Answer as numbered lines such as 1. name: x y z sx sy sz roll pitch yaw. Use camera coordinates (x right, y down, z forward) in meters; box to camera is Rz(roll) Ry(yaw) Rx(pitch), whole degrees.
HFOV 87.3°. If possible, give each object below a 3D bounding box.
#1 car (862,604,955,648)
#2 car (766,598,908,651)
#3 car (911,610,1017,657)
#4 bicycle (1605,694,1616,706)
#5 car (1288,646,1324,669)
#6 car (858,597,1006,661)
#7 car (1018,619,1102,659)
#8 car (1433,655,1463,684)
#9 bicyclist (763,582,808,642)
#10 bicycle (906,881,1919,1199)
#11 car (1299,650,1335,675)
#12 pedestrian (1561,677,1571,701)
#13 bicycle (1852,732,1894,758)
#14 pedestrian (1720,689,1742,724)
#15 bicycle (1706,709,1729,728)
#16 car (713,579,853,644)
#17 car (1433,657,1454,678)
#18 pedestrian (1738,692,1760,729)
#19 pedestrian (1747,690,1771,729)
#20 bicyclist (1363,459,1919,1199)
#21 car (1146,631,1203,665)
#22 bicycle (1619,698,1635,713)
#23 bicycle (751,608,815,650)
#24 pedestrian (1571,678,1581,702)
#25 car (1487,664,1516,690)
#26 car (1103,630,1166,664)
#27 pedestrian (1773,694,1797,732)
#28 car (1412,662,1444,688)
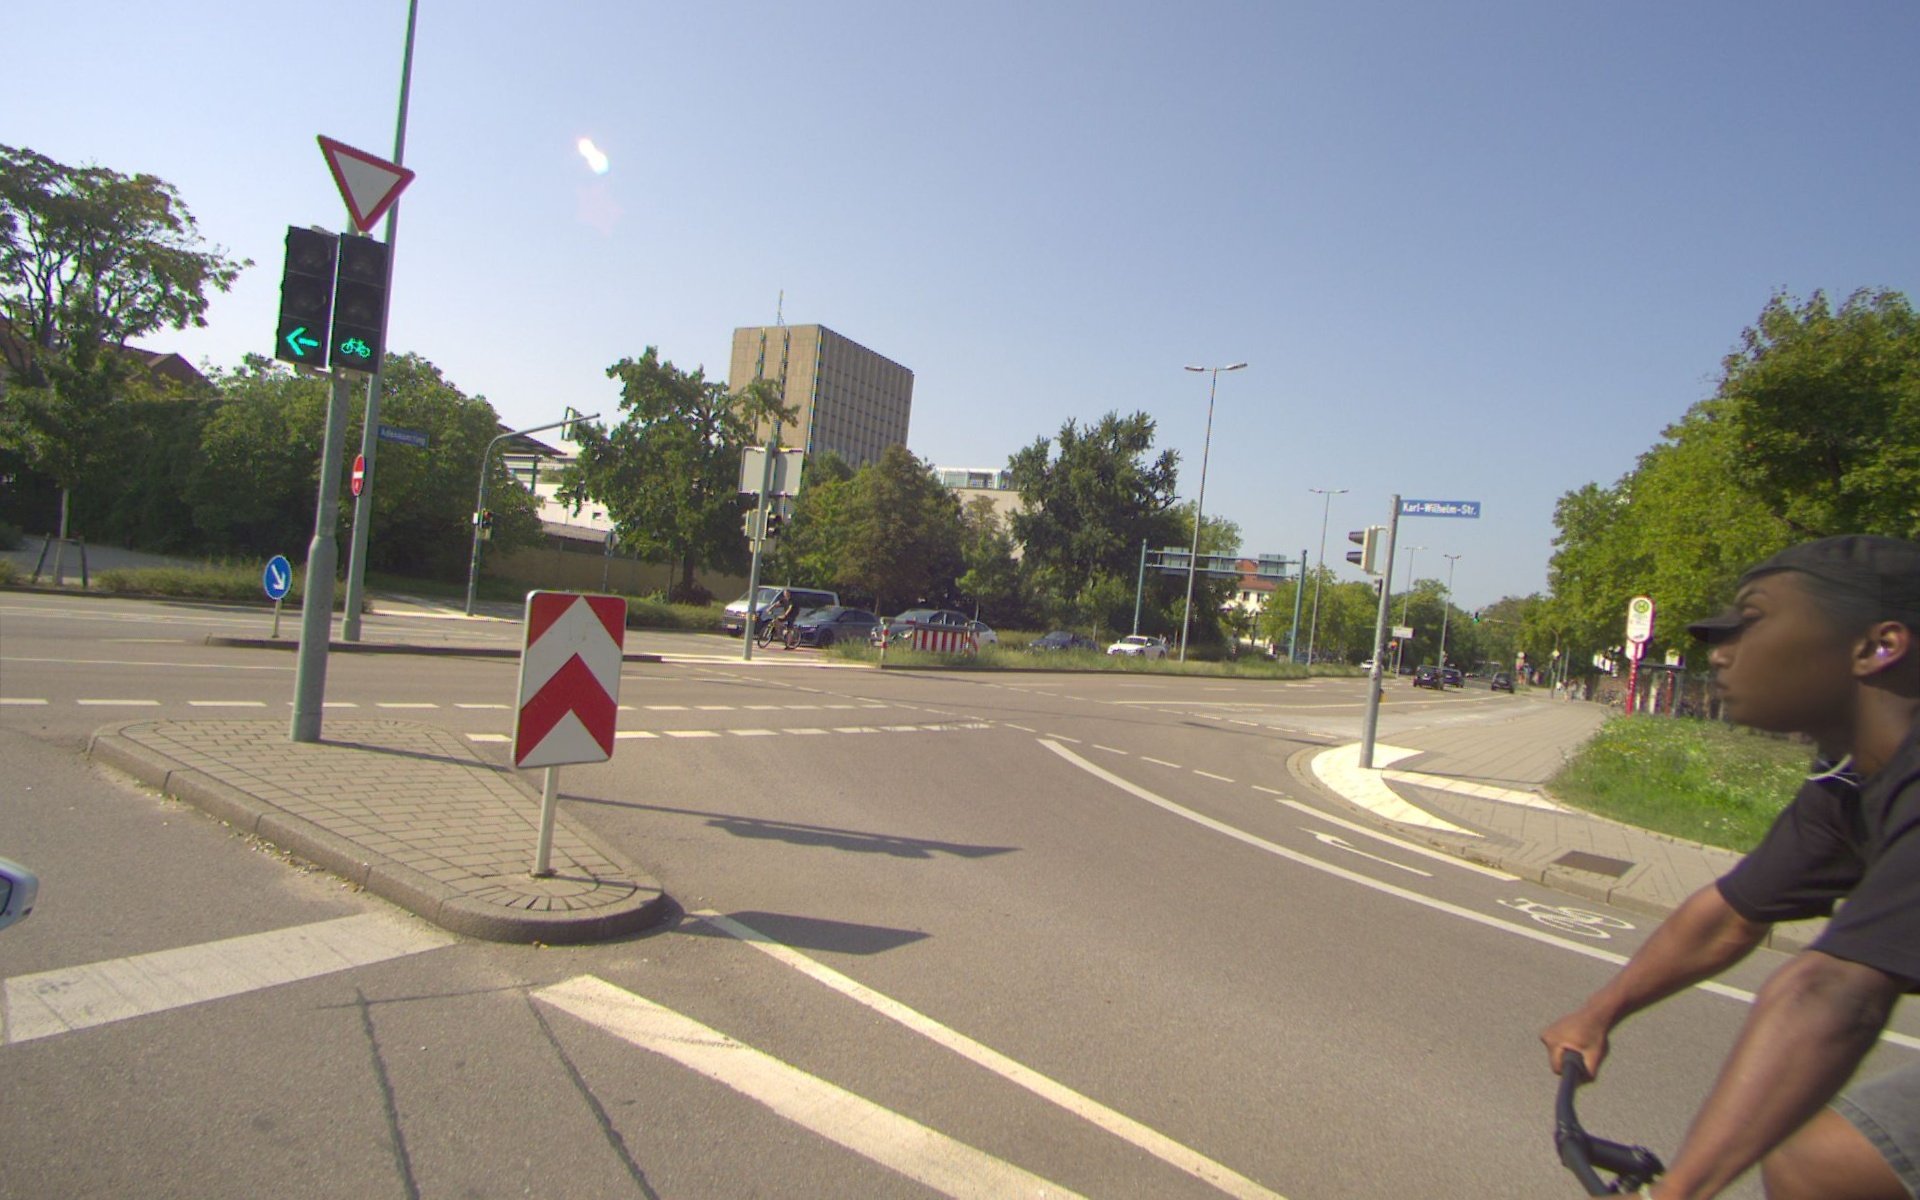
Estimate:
1. car: -2.180 1.151 43.439 1.783 1.524 3.954 6 0 37
2. car: -4.157 0.885 34.734 1.883 1.418 4.902 6 0 37
3. car: 0.212 1.410 41.303 1.970 1.524 4.419 6 0 37
4. bicycle: 48.912 7.508 75.614 0.426 0.846 1.548 7 0 25
5. car: 29.242 4.890 84.992 1.900 1.680 4.286 6 0 31
6. car: -0.761 0.926 30.731 1.827 1.597 4.695 4 -2 38
7. car: 4.794 1.871 47.781 1.970 1.524 4.280 6 0 37
8. car: 40.902 5.857 84.380 1.885 2.036 4.001 7 -2 24
9. bicyclist: -5.104 0.355 29.454 0.737 1.656 0.873 7 1 34
10. bicycle: 1.003 1.145 1.206 2.113 0.988 0.773 6 1 30
11. car: 26.237 4.584 73.888 1.683 1.593 3.993 6 0 29
12. pedestrian: 45.727 6.721 75.950 0.478 1.760 0.505 7 -1 30
13. bicycle: 37.566 5.965 41.427 0.425 0.846 1.551 6 0 9
14. pedestrian: 37.204 5.128 48.537 0.525 1.589 0.503 7 -1 12
15. bicycle: 40.621 6.356 53.935 0.426 0.846 1.550 6 0 18
16. car: -6.320 0.470 36.529 1.819 1.898 4.955 7 0 37
17. car: 56.468 7.891 117.464 1.885 2.036 4.001 7 -2 24
18. pedestrian: 38.131 5.336 48.619 0.474 1.670 0.595 7 -1 14
19. pedestrian: 36.463 4.986 45.901 0.510 1.670 0.595 7 -1 14
20. bicyclist: 1.044 0.715 1.187 0.973 1.598 0.773 7 1 29
21. car: 12.963 2.913 60.592 1.900 1.680 4.286 6 0 31
22. bicycle: 45.633 7.219 68.846 0.426 0.846 1.550 6 0 19
23. bicycle: -5.168 0.861 29.450 0.758 1.066 1.769 7 1 35
24. pedestrian: 46.133 6.750 75.320 0.478 1.760 0.505 7 -1 30
25. car: 50.363 7.213 93.629 1.885 2.036 4.001 7 -2 24
26. car: 9.583 2.578 55.034 1.900 1.524 4.286 6 0 31
27. pedestrian: 37.514 5.125 45.750 0.474 1.670 0.595 7 -1 14
28. car: 33.947 5.422 72.920 1.683 1.593 3.993 6 0 29
